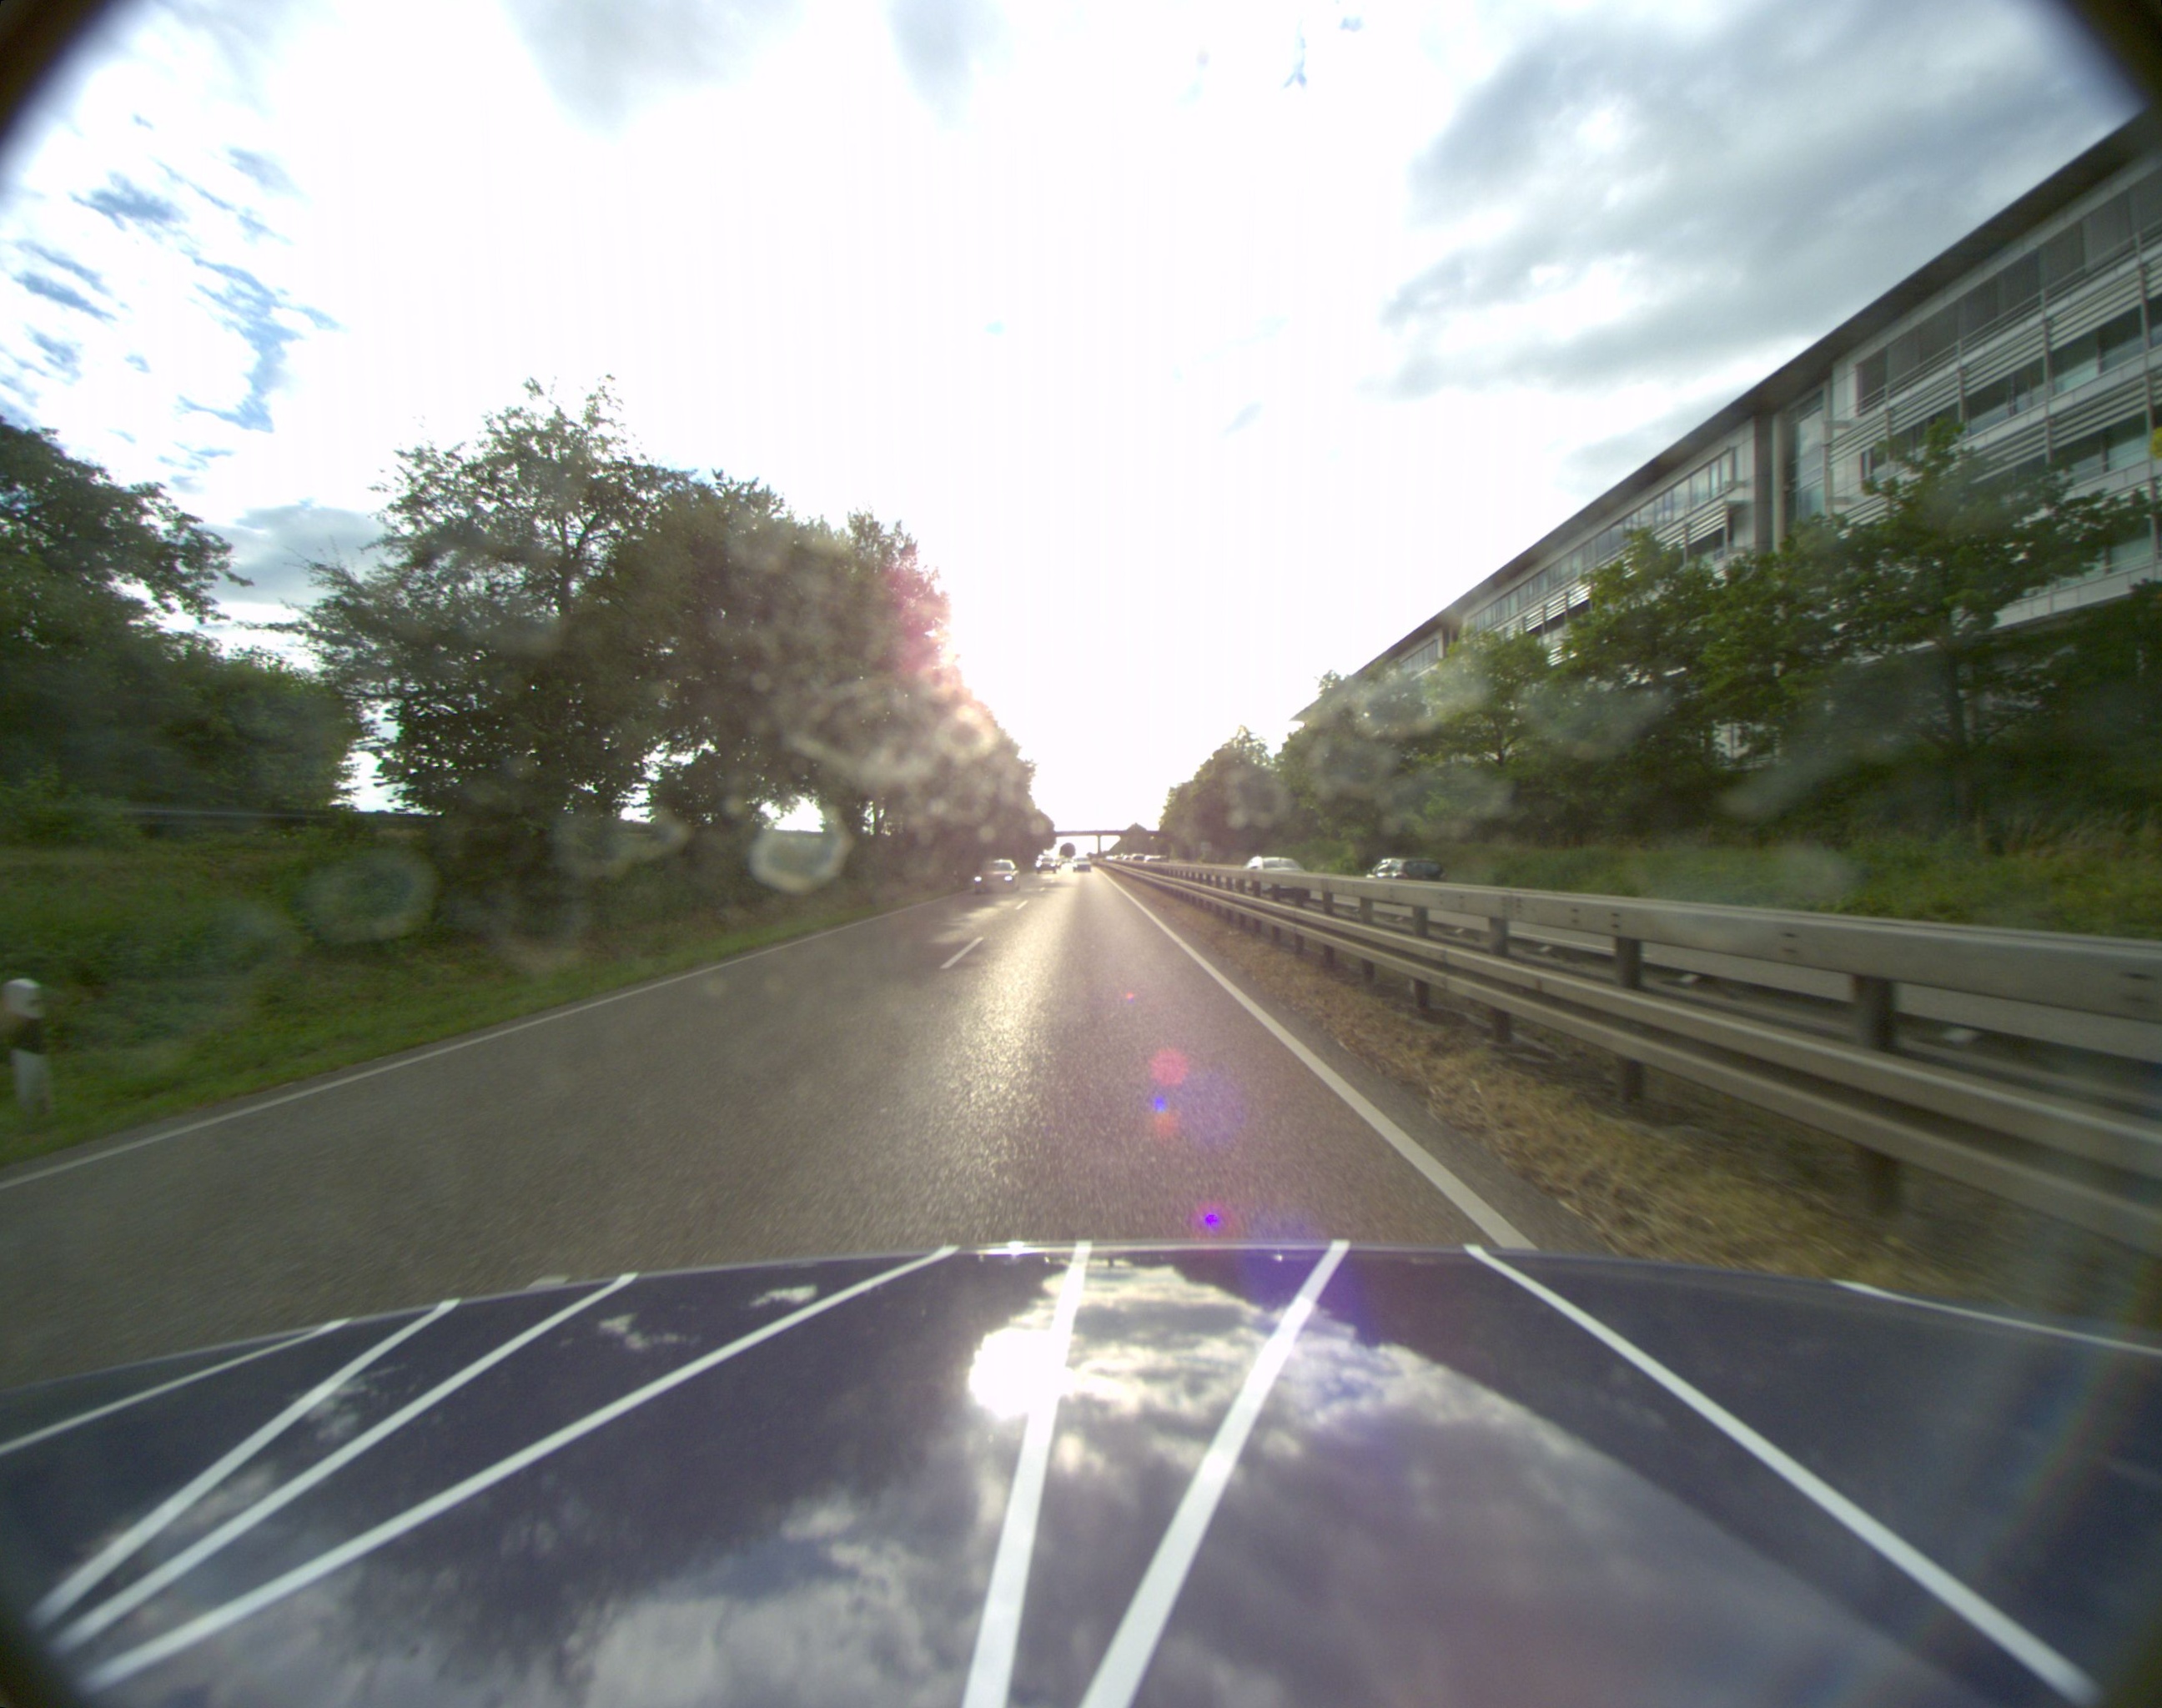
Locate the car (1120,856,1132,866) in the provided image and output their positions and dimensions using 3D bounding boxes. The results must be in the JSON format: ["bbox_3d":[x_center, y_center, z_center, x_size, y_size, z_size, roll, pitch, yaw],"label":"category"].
[{"bbox_3d":[6.515,0.976,110.760,1.596,1.439,3.999,0,0,0],"label":"car"}]

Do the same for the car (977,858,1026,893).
[{"bbox_3d":[-3.550,0.941,34.485,1.723,1.467,3.729,0,-1,2],"label":"car"}]

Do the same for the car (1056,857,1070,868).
[{"bbox_3d":[-2.151,1.008,92.567,1.558,1.346,3.408,-1,0,1],"label":"car"}]

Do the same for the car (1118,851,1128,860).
[{"bbox_3d":[11.349,0.393,207.528,2.255,2.522,6.940,-1,0,0],"label":"car"}]

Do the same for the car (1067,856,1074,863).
[{"bbox_3d":[-3.026,1.574,227.344,1.998,2.002,4.000,-3,0,1],"label":"car"}]

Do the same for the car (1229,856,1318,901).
[{"bbox_3d":[6.387,0.764,25.682,1.839,1.370,4.566,0,0,0],"label":"car"}]

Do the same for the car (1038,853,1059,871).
[{"bbox_3d":[-3.151,0.785,74.579,1.723,1.657,4.419,-2,-1,1],"label":"car"}]

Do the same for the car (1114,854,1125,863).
[{"bbox_3d":[7.276,0.866,143.831,1.825,1.574,4.316,-1,0,0],"label":"car"}]

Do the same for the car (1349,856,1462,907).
[{"bbox_3d":[10.337,0.818,24.605,1.761,1.414,4.566,-1,0,1],"label":"car"}]

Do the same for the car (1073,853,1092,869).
[{"bbox_3d":[0.199,0.708,76.624,1.723,1.493,4.420,-2,-1,1],"label":"car"}]

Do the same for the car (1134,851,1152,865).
[{"bbox_3d":[7.408,0.489,91.684,1.747,1.635,5.279,-1,0,0],"label":"car"}]

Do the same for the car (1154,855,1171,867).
[{"bbox_3d":[10.810,0.952,101.097,1.821,1.476,4.417,2,0,0],"label":"car"}]

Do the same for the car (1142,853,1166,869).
[{"bbox_3d":[6.768,0.607,71.041,1.747,1.449,4.311,1,0,0],"label":"car"}]

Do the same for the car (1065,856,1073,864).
[{"bbox_3d":[-3.175,1.635,197.701,1.998,2.002,4.000,-3,0,1],"label":"car"}]

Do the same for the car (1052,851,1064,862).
[{"bbox_3d":[-3.747,0.370,124.808,1.723,1.657,4.419,-2,-1,1],"label":"car"}]
